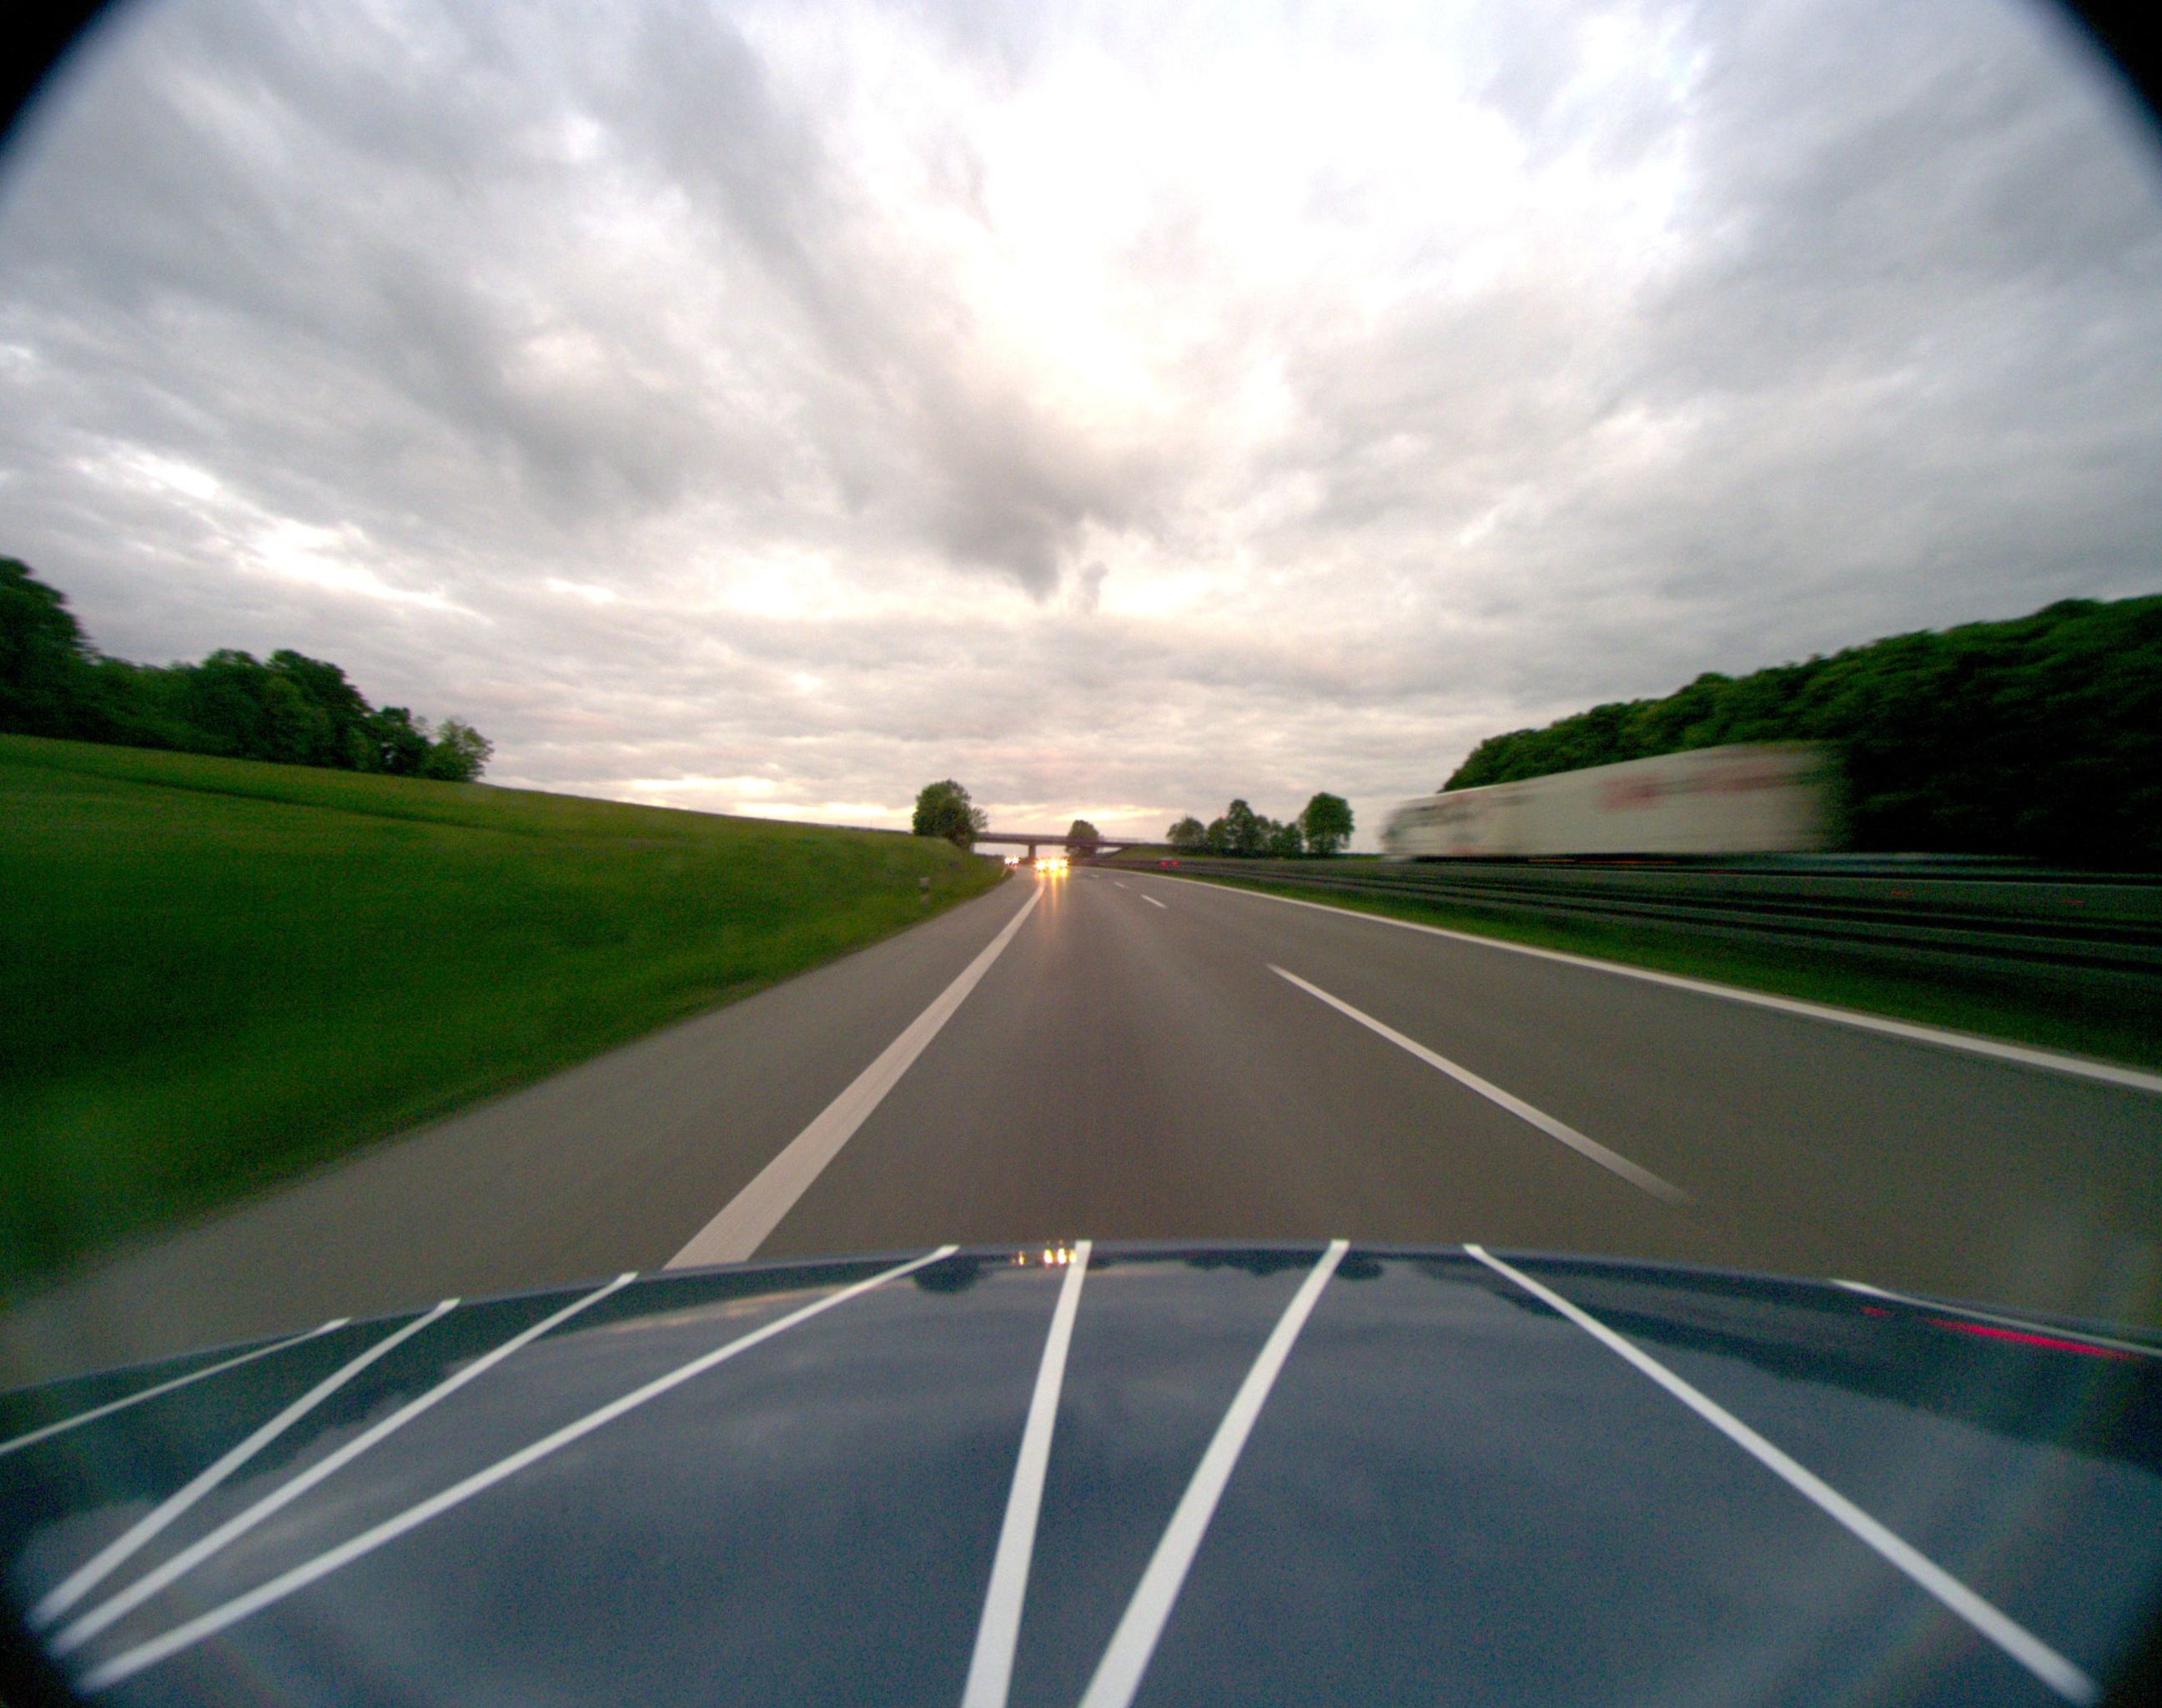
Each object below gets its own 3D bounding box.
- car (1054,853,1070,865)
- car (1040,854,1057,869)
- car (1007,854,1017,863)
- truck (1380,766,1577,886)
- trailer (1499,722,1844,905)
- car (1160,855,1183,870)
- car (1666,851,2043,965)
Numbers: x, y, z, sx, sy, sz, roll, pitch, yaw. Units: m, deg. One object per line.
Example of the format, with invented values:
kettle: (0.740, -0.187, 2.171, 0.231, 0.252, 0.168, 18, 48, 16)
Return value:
car: (-2.529, 0.682, 101.264, 1.661, 1.470, 3.997, -1, 0, -8)
car: (-3.409, 0.770, 79.340, 1.682, 1.504, 3.998, 1, 0, -4)
car: (-14.515, 1.028, 160.092, 1.921, 1.826, 3.998, 1, -1, -9)
truck: (16.306, -1.019, 32.376, 2.872, 4.256, 10.064, -1, 0, -1)
trailer: (16.583, -0.974, 22.664, 2.839, 4.292, 9.291, -1, 0, -2)
car: (9.879, 0.878, 83.541, 1.659, 1.541, 4.670, 1, 0, -3)
car: (12.237, 0.734, 12.569, 1.658, 1.526, 4.466, 1, 0, 0)
